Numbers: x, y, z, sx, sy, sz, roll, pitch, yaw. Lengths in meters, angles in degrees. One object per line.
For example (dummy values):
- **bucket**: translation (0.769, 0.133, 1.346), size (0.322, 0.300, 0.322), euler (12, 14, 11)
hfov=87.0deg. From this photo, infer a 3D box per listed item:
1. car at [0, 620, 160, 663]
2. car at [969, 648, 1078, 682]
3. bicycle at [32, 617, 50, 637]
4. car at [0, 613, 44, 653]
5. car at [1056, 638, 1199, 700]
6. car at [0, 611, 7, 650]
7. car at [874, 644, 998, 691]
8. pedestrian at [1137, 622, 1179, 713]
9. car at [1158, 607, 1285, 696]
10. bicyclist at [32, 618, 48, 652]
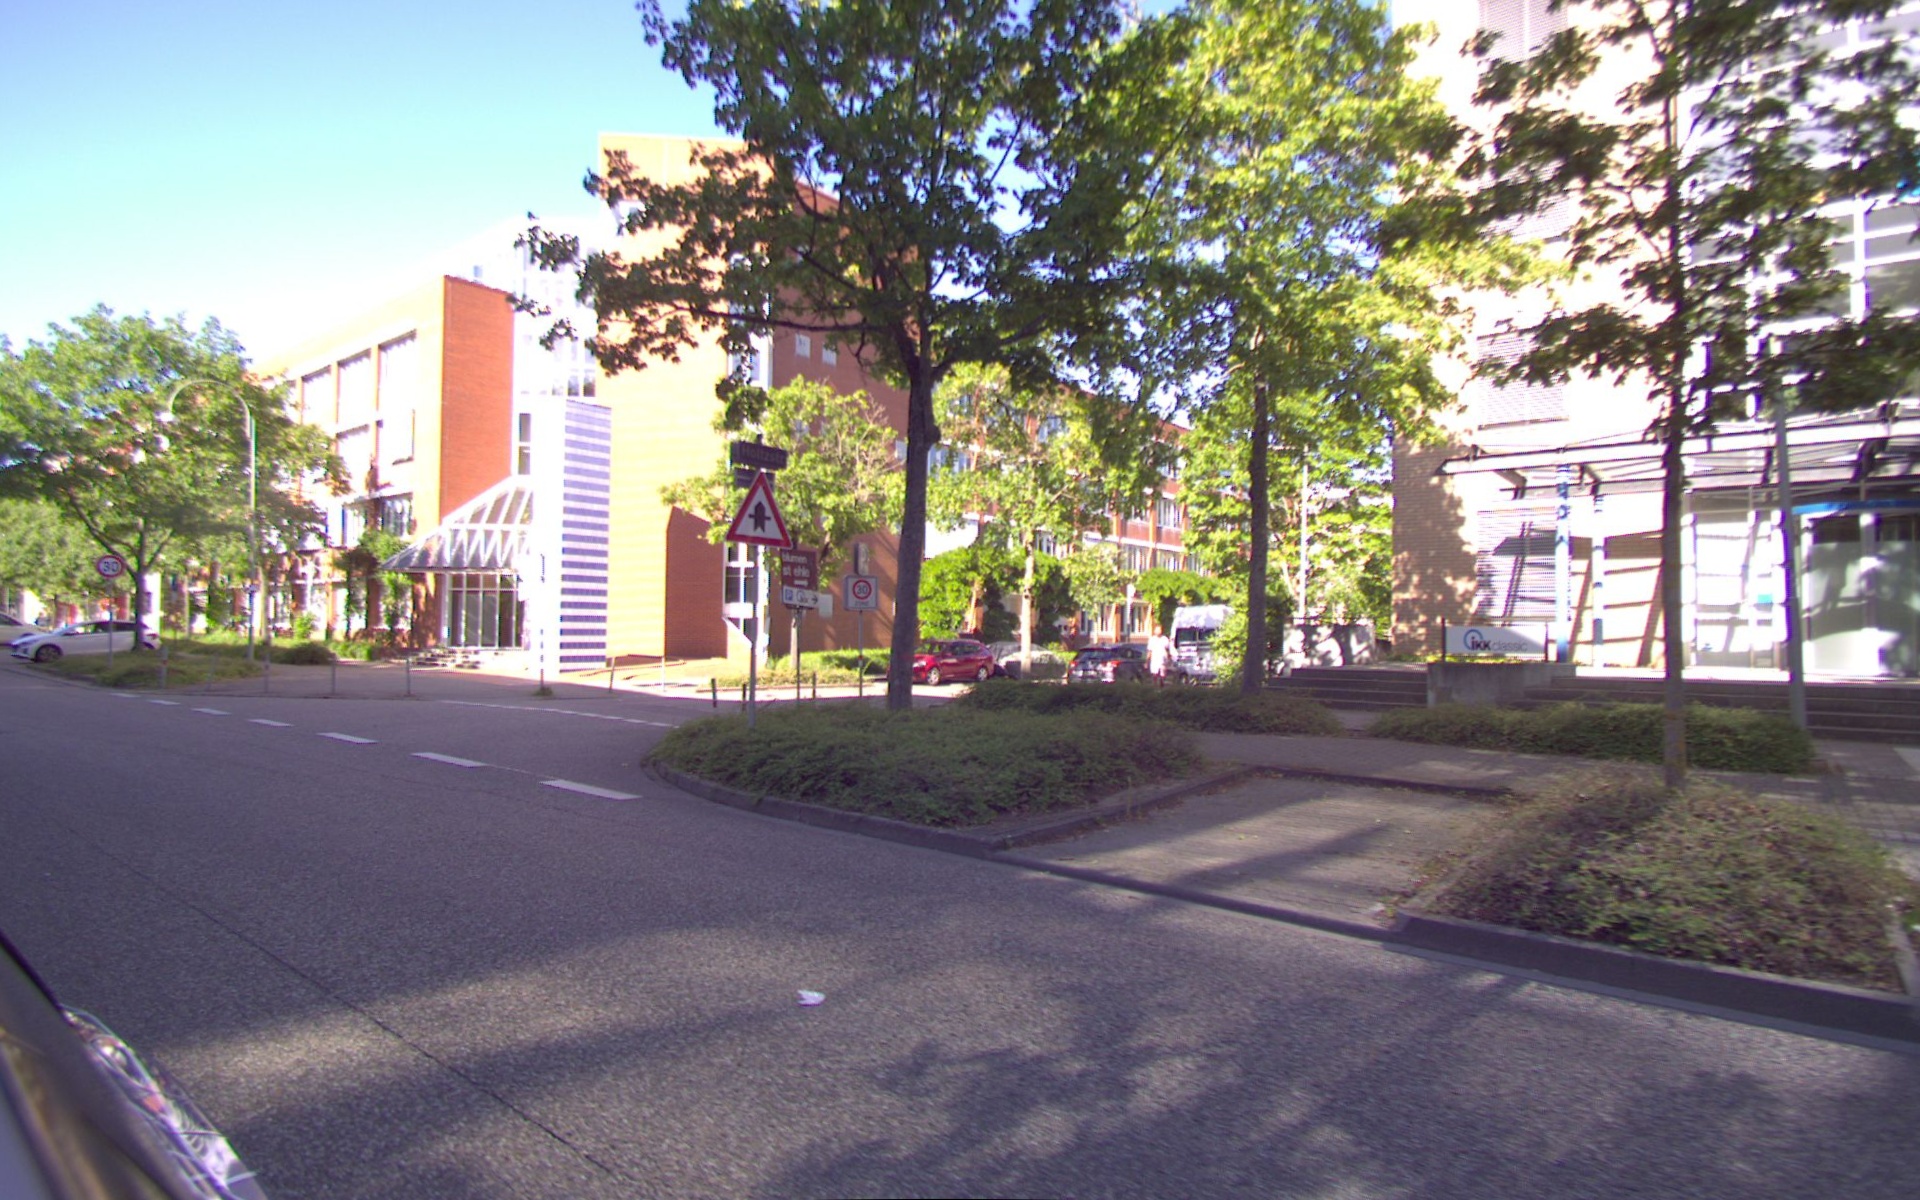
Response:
- **car**: translation (-30.445, 1.399, 35.100), size (1.616, 1.430, 3.955), euler (-1, -2, 38)
- **car**: translation (2.511, 2.456, 38.921), size (1.846, 1.196, 4.661), euler (-1, -3, 39)
- **bicycle**: translation (-54.114, 1.588, 59.586), size (2.155, 1.107, 0.629), euler (0, -2, 43)
- **car**: translation (-48.126, 1.563, 49.047), size (1.998, 1.901, 5.250), euler (-1, -3, 40)
- **car**: translation (4.620, 1.791, 27.367), size (1.845, 1.519, 4.664), euler (-1, -3, 37)
- **car**: translation (-55.868, 1.619, 55.817), size (1.998, 2.185, 4.575), euler (-1, -3, 40)
- **car**: translation (-0.752, 2.259, 34.608), size (1.846, 1.463, 4.382), euler (-1, -3, 39)
- **pedestrian**: translation (4.315, 1.447, 22.007), size (0.672, 1.932, 0.615), euler (-1, -4, 41)
- **car**: translation (8.414, 1.611, 32.235), size (1.921, 2.588, 5.408), euler (-1, -3, 38)
- **bicyclist**: translation (-54.133, 2.046, 59.517), size (0.609, 2.029, 0.625), euler (-1, -1, 42)
